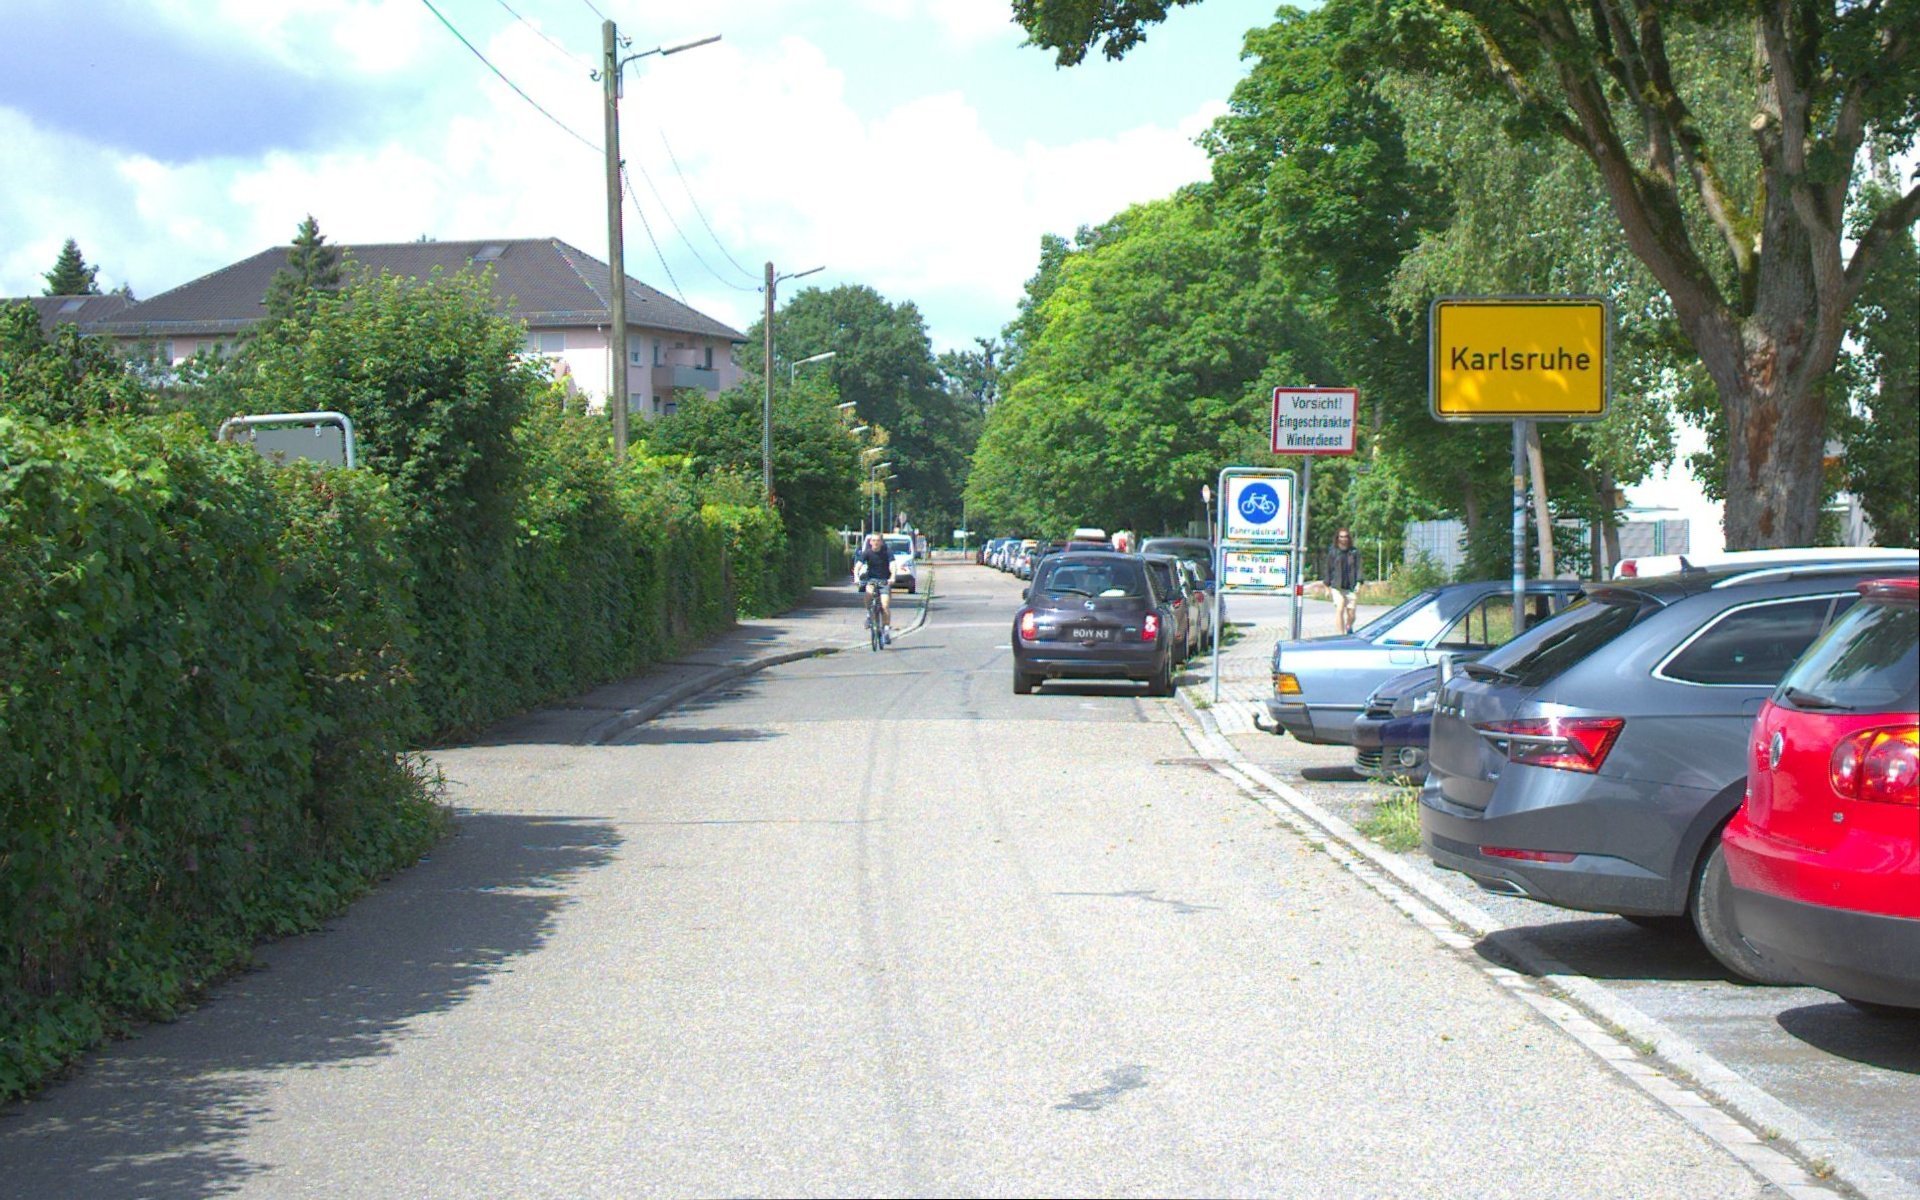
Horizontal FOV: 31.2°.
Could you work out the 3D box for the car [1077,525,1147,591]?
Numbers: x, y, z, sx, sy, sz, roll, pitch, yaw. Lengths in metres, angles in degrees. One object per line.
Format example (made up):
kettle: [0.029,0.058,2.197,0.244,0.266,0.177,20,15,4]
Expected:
car: [4.677,-1.291,106.253,2.058,1.919,4.540,2,1,2]

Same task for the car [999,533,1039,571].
car: [3.162,-2.580,185.456,1.993,2.007,4.000,1,1,-1]

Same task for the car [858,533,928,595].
car: [-2.047,-1.106,106.065,1.903,1.808,4.000,2,1,2]

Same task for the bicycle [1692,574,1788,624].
bicycle: [18.091,-0.028,79.748,2.089,1.115,0.625,-1,1,5]

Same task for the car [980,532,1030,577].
car: [2.052,-2.074,155.647,2.058,1.955,4.540,2,1,2]

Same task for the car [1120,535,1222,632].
car: [4.145,-0.331,67.169,1.874,1.800,3.432,2,1,4]

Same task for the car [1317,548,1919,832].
car: [4.254,0.517,20.703,3.933,1.554,1.868,1,1,-2]

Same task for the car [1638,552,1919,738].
car: [7.907,0.323,28.356,4.240,1.425,1.759,-2,1,-1]

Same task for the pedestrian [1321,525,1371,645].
pedestrian: [5.683,-0.221,50.611,0.610,1.739,0.721,2,0,13]

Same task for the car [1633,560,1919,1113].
car: [4.116,0.636,10.386,3.809,1.527,1.762,0,1,0]

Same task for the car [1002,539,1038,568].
car: [3.506,-2.693,200.284,1.852,1.612,3.999,2,1,4]

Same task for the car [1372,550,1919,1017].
car: [3.950,0.662,12.796,4.548,1.573,1.809,1,1,-1]

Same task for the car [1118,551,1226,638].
car: [3.663,-0.117,59.830,1.663,1.430,3.542,1,1,1]

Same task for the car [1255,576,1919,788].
car: [4.250,0.544,23.812,4.359,1.387,1.718,0,0,4]

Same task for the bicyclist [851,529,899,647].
bicyclist: [-1.345,-0.192,54.691,0.659,1.846,1.043,-1,1,2]

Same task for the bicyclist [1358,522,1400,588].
bicyclist: [11.429,-1.223,93.715,0.786,1.779,0.892,2,1,32]

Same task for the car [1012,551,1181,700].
car: [1.545,0.249,37.736,1.663,1.501,3.999,2,1,4]

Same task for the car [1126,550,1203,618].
car: [4.769,-0.391,80.459,1.679,1.514,4.000,2,1,2]

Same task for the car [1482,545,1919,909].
car: [4.359,0.569,15.782,3.573,1.544,1.667,1,1,-3]

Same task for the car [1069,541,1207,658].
car: [2.558,-0.020,48.688,1.664,1.547,3.636,2,1,7]

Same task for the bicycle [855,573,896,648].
bicycle: [-1.344,0.160,54.704,0.518,1.146,1.827,-1,1,2]
